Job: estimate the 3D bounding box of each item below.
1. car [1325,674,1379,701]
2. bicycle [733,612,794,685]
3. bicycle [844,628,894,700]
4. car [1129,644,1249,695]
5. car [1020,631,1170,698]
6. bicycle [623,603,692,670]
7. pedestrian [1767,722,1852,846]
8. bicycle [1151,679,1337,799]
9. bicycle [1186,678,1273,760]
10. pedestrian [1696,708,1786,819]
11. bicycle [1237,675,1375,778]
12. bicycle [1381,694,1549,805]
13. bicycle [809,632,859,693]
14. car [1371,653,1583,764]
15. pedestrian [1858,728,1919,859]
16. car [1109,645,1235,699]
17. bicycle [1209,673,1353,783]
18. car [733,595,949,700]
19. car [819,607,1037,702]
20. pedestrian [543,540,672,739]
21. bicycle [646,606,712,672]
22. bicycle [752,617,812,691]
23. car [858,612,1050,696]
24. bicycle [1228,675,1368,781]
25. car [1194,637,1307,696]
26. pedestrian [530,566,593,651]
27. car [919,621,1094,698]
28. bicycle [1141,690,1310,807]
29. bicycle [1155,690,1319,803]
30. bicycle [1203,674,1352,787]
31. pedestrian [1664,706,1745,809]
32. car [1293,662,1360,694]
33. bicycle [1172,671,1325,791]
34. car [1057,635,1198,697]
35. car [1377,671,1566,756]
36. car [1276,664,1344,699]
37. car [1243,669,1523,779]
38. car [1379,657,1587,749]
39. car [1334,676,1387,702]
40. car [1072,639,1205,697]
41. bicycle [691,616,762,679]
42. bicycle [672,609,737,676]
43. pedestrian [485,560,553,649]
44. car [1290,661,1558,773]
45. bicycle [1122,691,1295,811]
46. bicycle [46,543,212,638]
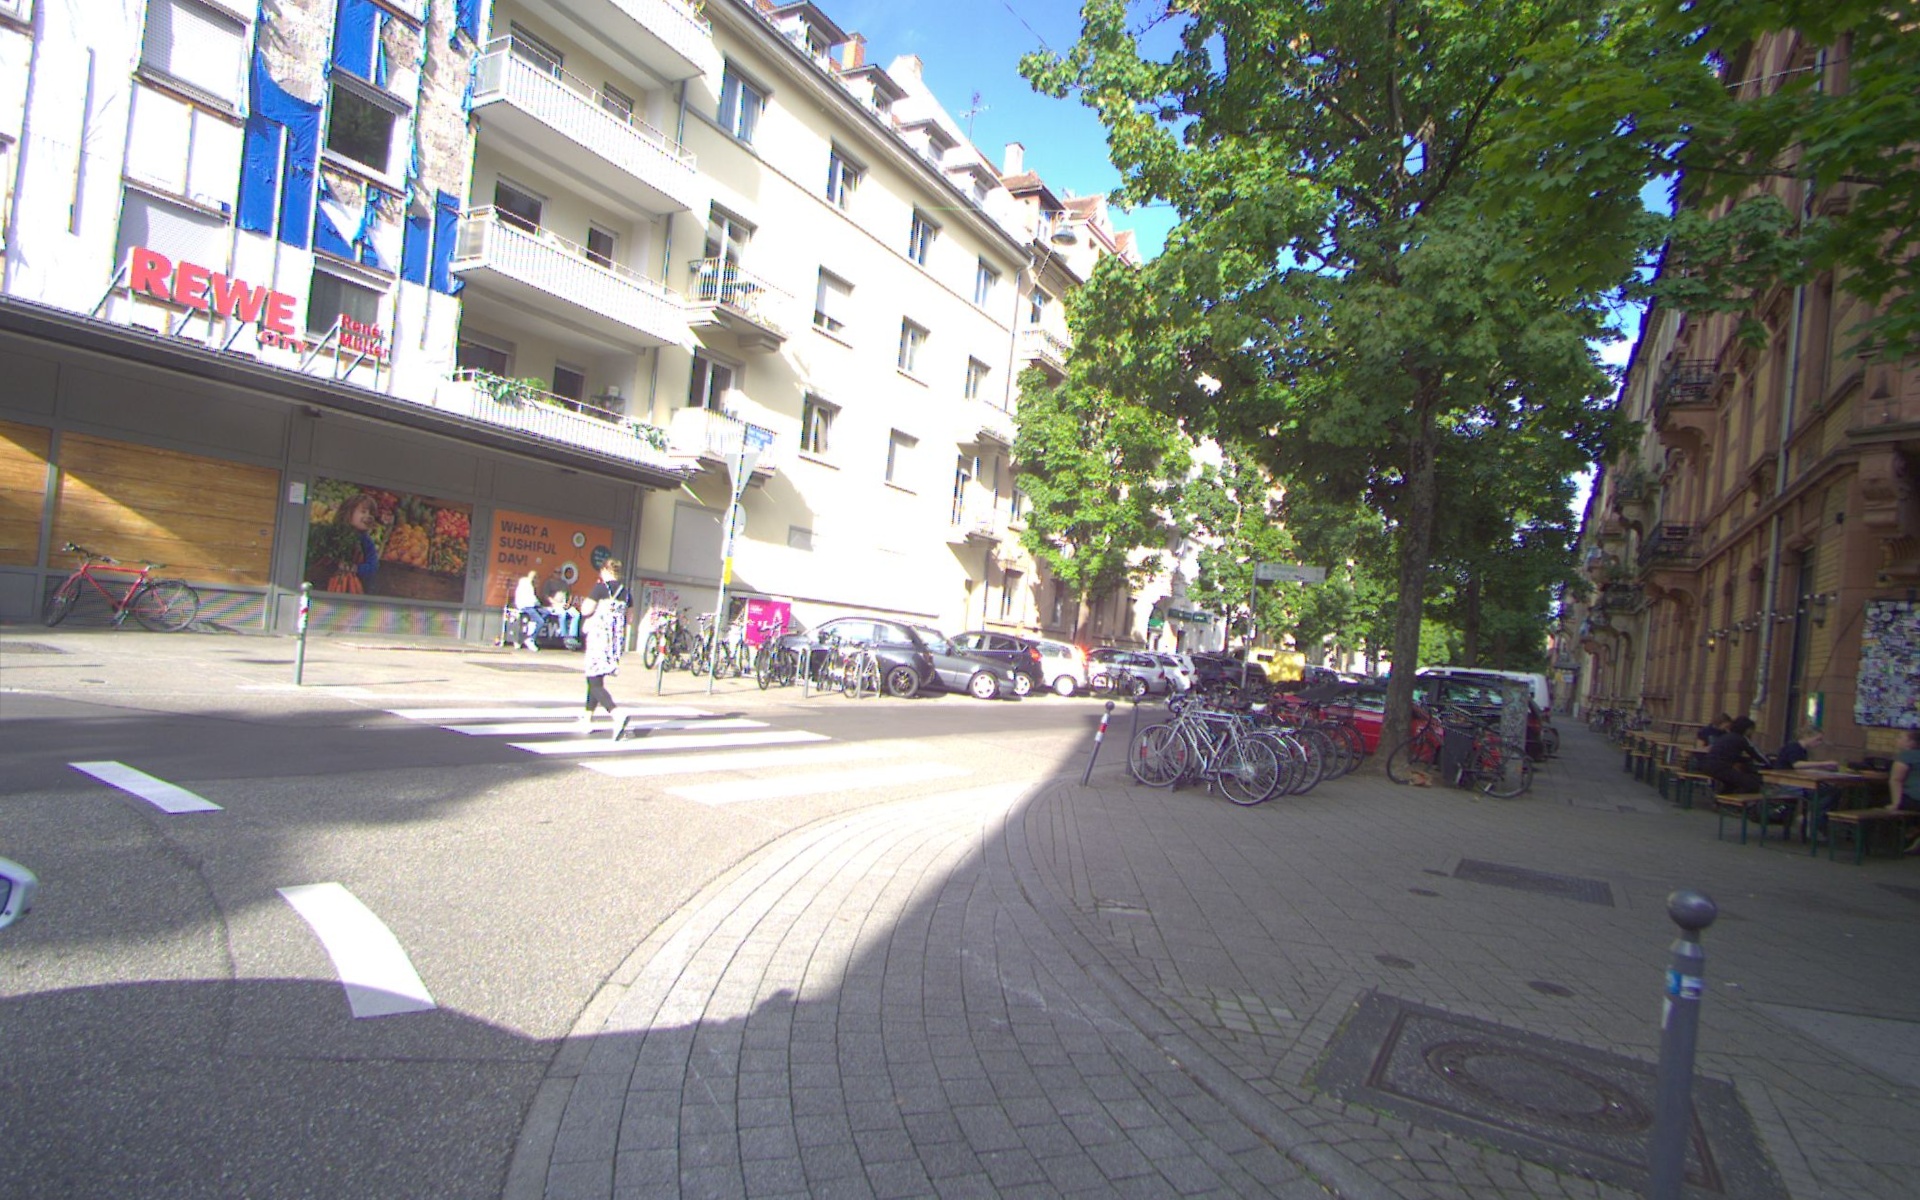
[{"bbox_3d":[31.843,7.124,81.808,3.776,1.658,1.737,7,-1,13],"label":"car"},{"bbox_3d":[-3.475,0.860,17.937,0.405,1.190,1.855,7,-1,6],"label":"bicycle"},{"bbox_3d":[-1.634,1.139,18.334,0.405,1.190,1.855,7,-1,6],"label":"bicycle"},{"bbox_3d":[9.576,2.916,42.379,4.543,1.513,1.752,7,-1,3],"label":"car"},{"bbox_3d":[4.299,2.060,32.600,4.543,1.513,1.752,7,-1,3],"label":"car"},{"bbox_3d":[-5.418,0.639,18.101,0.413,1.100,1.699,7,0,7],"label":"bicycle"},{"bbox_3d":[9.402,2.015,11.150,0.632,1.240,0.510,4,0,38],"label":"pedestrian"},{"bbox_3d":[3.215,1.550,11.569,2.019,1.102,0.445,3,-1,44],"label":"bicycle"},{"bbox_3d":[4.131,1.768,15.278,0.572,1.108,2.495,2,-3,31],"label":"bicycle"},{"bbox_3d":[10.047,2.084,12.969,0.756,1.300,0.628,4,-2,29],"label":"pedestrian"},{"bbox_3d":[4.788,1.722,13.978,1.686,1.216,0.447,4,-1,35],"label":"bicycle"},{"bbox_3d":[6.372,1.851,12.727,1.772,1.127,0.598,4,-1,35],"label":"bicycle"},{"bbox_3d":[-2.285,1.121,18.377,0.483,1.013,1.424,7,-1,6],"label":"bicycle"},{"bbox_3d":[10.730,2.206,20.913,3.648,1.741,1.858,5,-3,33],"label":"car"},{"bbox_3d":[9.961,2.031,10.601,0.632,1.275,0.509,4,0,38],"label":"pedestrian"},{"bbox_3d":[8.377,2.837,39.969,4.543,1.513,1.752,7,-1,3],"label":"car"},{"bbox_3d":[4.187,1.643,13.154,1.681,1.216,0.448,4,0,23],"label":"bicycle"},{"bbox_3d":[-2.336,0.925,20.426,3.925,1.473,1.810,9,1,4],"label":"car"},{"bbox_3d":[-0.746,1.207,22.775,4.583,1.472,1.956,8,-1,-4],"label":"car"},{"bbox_3d":[-3.387,0.378,9.717,0.826,1.774,0.614,6,0,5],"label":"pedestrian"},{"bbox_3d":[-5.040,0.685,18.115,0.413,1.100,1.699,7,0,7],"label":"bicycle"},{"bbox_3d":[-3.089,0.930,17.631,0.405,1.190,1.855,7,-1,6],"label":"bicycle"},{"bbox_3d":[-0.189,1.352,25.327,4.547,1.450,1.750,8,-2,-4],"label":"car"},{"bbox_3d":[4.525,1.690,13.500,1.681,1.216,0.448,4,0,23],"label":"bicycle"},{"bbox_3d":[14.242,3.228,49.479,4.722,2.247,2.149,8,-1,-1],"label":"car"},{"bbox_3d":[-7.553,0.167,19.075,0.740,1.524,0.667,6,0,27],"label":"pedestrian"},{"bbox_3d":[1.288,1.624,27.793,4.543,1.450,1.752,7,-1,3],"label":"car"},{"bbox_3d":[2.809,1.549,10.778,1.691,0.999,0.445,3,-1,44],"label":"bicycle"},{"bbox_3d":[3.038,1.581,11.154,1.691,0.999,0.445,3,-1,44],"label":"bicycle"},{"bbox_3d":[3.966,1.617,12.642,1.680,1.216,0.448,4,0,17],"label":"bicycle"},{"bbox_3d":[10.333,2.168,13.982,0.756,1.300,0.628,4,-2,29],"label":"pedestrian"},{"bbox_3d":[24.819,5.265,68.269,3.776,1.657,1.736,7,-1,5],"label":"car"},{"bbox_3d":[3.450,1.540,12.143,1.691,1.216,0.445,3,-1,44],"label":"bicycle"},{"bbox_3d":[5.760,2.283,35.069,4.543,1.513,1.752,7,-1,3],"label":"car"},{"bbox_3d":[11.695,2.565,23.050,3.649,1.474,1.667,3,-4,33],"label":"car"},{"bbox_3d":[22.278,5.180,64.123,3.776,1.658,1.737,7,-1,13],"label":"car"},{"bbox_3d":[6.955,1.995,16.678,4.043,1.284,1.567,3,-4,29],"label":"car"},{"bbox_3d":[14.281,2.765,27.703,4.828,2.013,2.044,3,-2,28],"label":"car"},{"bbox_3d":[33.448,7.428,84.132,3.776,1.658,1.737,7,-1,13],"label":"car"},{"bbox_3d":[6.579,2.501,37.485,4.543,1.513,1.752,7,-1,3],"label":"car"},{"bbox_3d":[-4.135,0.857,17.905,0.405,1.031,1.503,7,-1,17],"label":"bicycle"},{"bbox_3d":[-4.552,0.738,18.011,0.413,1.100,1.699,7,0,7],"label":"bicycle"},{"bbox_3d":[-8.033,0.095,18.346,0.656,1.524,0.753,6,0,25],"label":"pedestrian"},{"bbox_3d":[8.771,2.135,19.141,4.249,1.588,2.000,3,-2,37],"label":"car"},{"bbox_3d":[2.535,1.519,10.419,1.691,0.981,0.445,3,-1,44],"label":"bicycle"},{"bbox_3d":[-10.822,-0.108,13.137,0.574,1.045,1.529,8,0,40],"label":"bicycle"}]
